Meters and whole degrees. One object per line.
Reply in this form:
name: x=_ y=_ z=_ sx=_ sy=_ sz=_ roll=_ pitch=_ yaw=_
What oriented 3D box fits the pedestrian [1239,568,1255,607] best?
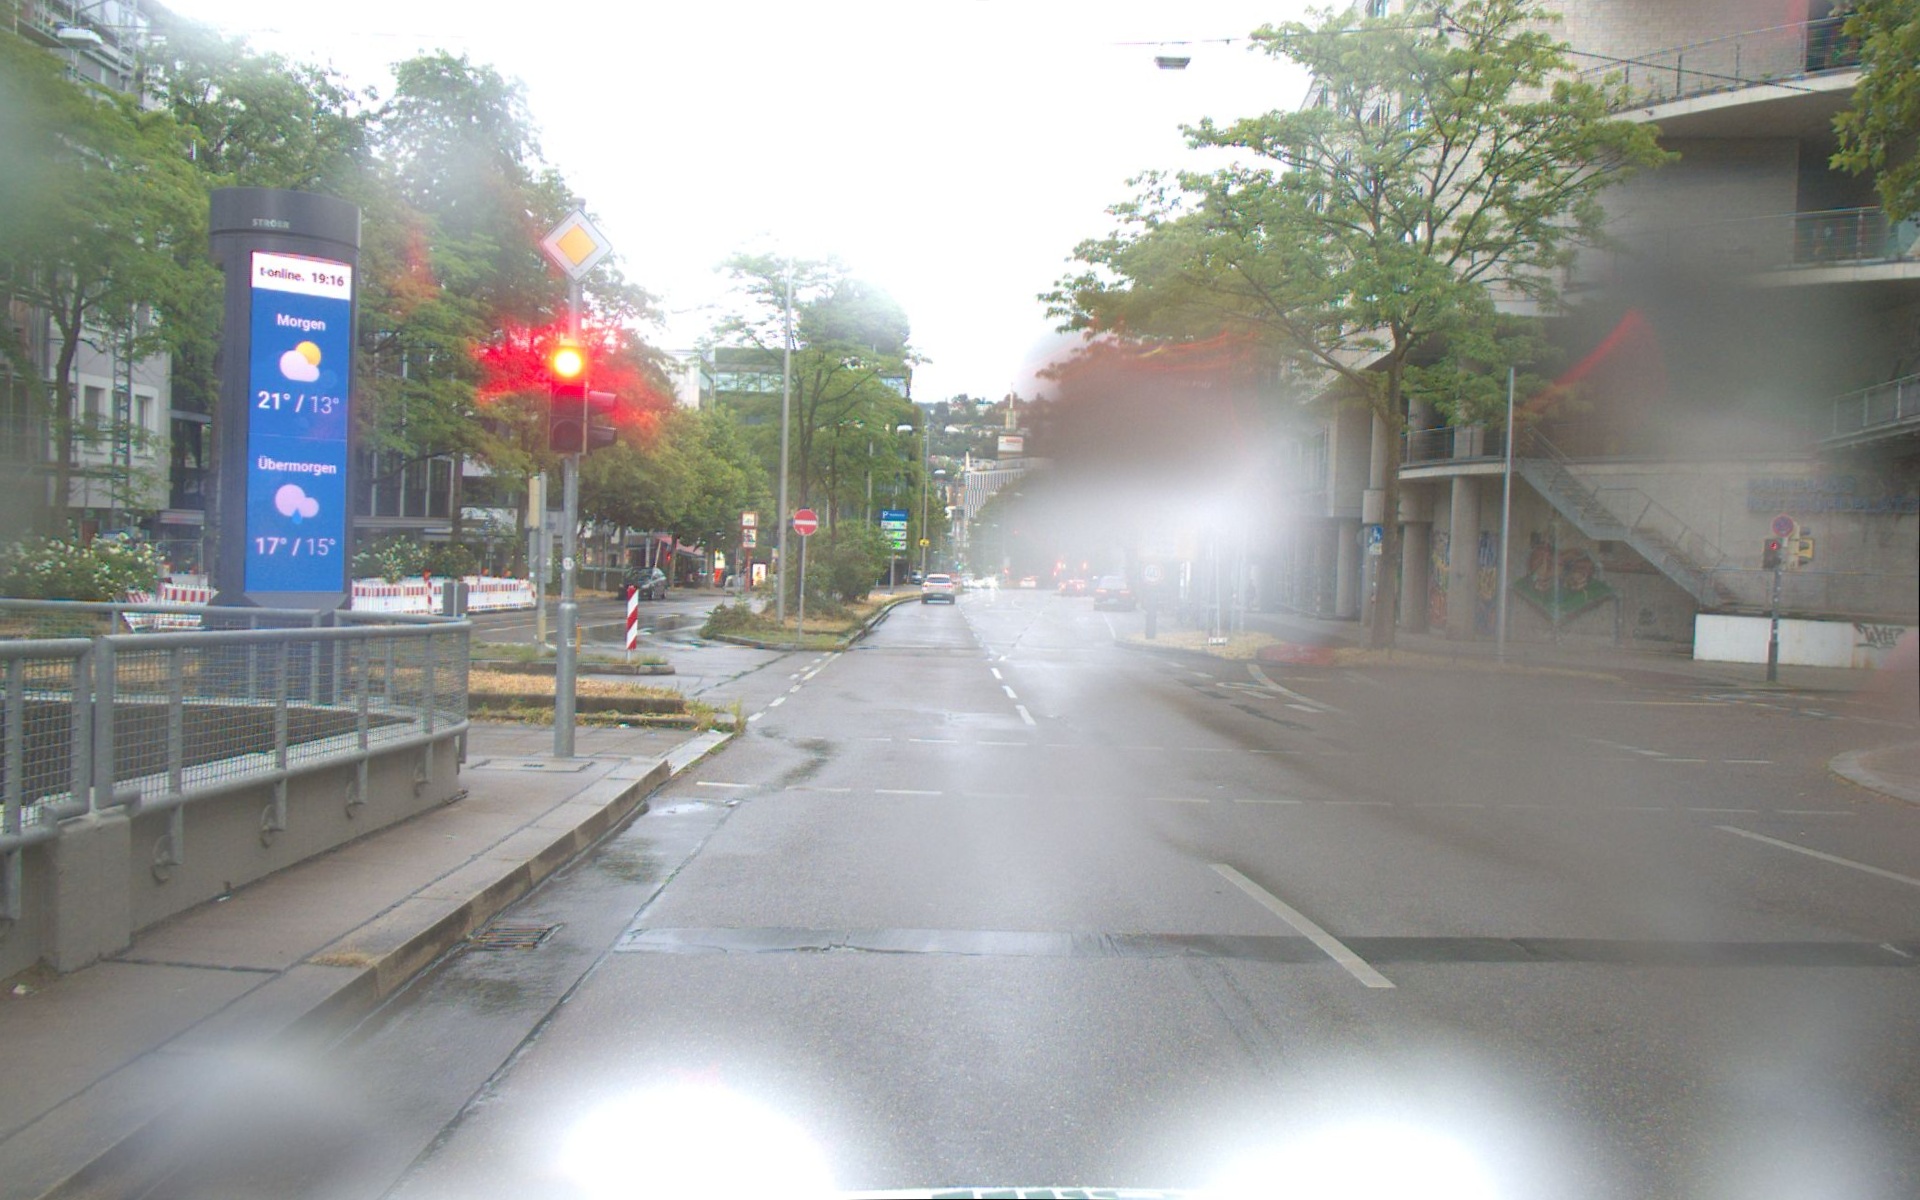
pedestrian: x=14.617 y=-0.640 z=84.179 sx=0.759 sy=1.954 sz=0.703 roll=1 pitch=-1 yaw=9

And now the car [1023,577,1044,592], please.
car: x=9.429 y=-1.976 z=211.550 sx=1.951 sy=1.789 sz=4.003 roll=2 pitch=0 yaw=12

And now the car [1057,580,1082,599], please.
car: x=10.319 y=-0.978 z=155.703 sx=1.953 sy=1.754 sz=3.999 roll=1 pitch=0 yaw=-2

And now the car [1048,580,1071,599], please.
car: x=10.024 y=-1.042 z=166.970 sx=1.953 sy=1.766 sz=3.999 roll=1 pitch=0 yaw=-1

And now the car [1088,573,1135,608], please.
car: x=7.667 y=-0.489 z=83.548 sx=2.288 sy=1.720 sz=4.003 roll=1 pitch=1 yaw=6

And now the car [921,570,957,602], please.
car: x=-1.211 y=-0.785 z=92.656 sx=1.792 sy=1.668 sz=4.298 roll=2 pitch=0 yaw=-3
